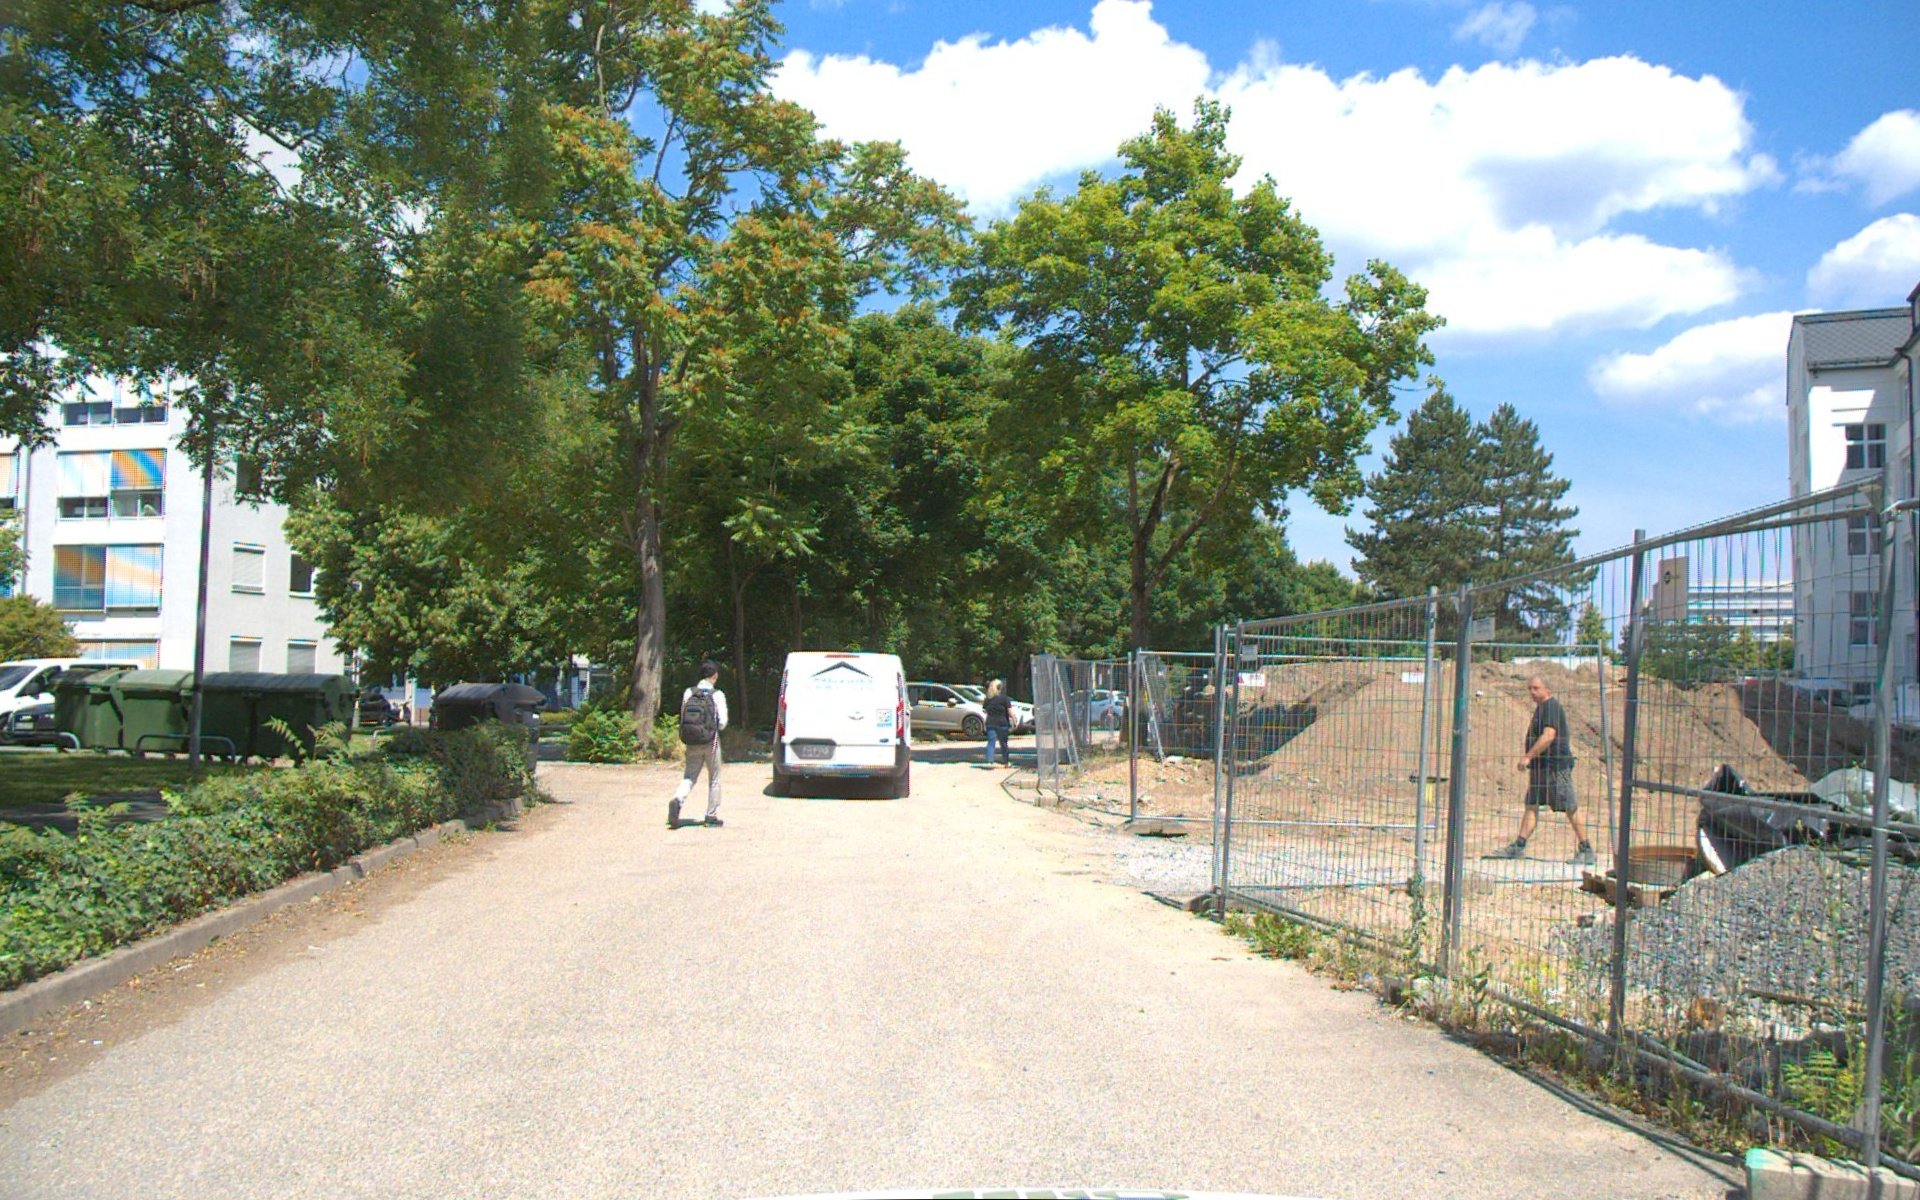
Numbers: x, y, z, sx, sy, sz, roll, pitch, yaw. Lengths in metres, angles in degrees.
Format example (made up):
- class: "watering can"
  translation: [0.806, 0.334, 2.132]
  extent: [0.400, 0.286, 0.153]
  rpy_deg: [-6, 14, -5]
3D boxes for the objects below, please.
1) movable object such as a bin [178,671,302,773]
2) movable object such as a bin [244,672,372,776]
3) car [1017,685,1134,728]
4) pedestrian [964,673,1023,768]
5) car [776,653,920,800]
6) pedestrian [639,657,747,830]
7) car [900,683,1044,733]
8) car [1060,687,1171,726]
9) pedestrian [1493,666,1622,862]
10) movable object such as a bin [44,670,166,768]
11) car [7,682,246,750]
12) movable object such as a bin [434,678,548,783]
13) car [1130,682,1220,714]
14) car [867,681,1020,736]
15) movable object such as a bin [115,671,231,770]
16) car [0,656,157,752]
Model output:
- class: "movable object such as a bin"
  translation: [-10.981, 1.845, 25.265]
  extent: [1.327, 1.505, 1.097]
  rpy_deg: [0, -3, 10]
- class: "movable object such as a bin"
  translation: [-9.763, 1.833, 24.801]
  extent: [1.293, 1.505, 1.208]
  rpy_deg: [-1, -3, 18]
- class: "car"
  translation: [4.658, 4.261, 66.514]
  extent: [4.412, 1.626, 1.725]
  rpy_deg: [-1, -3, 20]
- class: "pedestrian"
  translation: [0.627, 2.180, 30.121]
  extent: [1.013, 1.679, 1.049]
  rpy_deg: [0, -3, 4]
- class: "car"
  translation: [-1.684, 1.837, 24.747]
  extent: [1.934, 1.981, 4.575]
  rpy_deg: [1, -3, -4]
- class: "pedestrian"
  translation: [-2.806, 1.488, 17.501]
  extent: [0.855, 1.760, 1.080]
  rpy_deg: [0, -3, 5]
- class: "car"
  translation: [0.400, 3.562, 54.677]
  extent: [4.412, 1.559, 1.725]
  rpy_deg: [-1, -3, 20]
- class: "car"
  translation: [6.746, 4.602, 71.725]
  extent: [4.412, 1.626, 1.936]
  rpy_deg: [-1, -3, 21]
- class: "pedestrian"
  translation: [5.810, 1.578, 16.144]
  extent: [0.944, 1.852, 0.870]
  rpy_deg: [0, -3, 2]
- class: "movable object such as a bin"
  translation: [-13.607, 1.875, 26.335]
  extent: [1.376, 1.505, 1.047]
  rpy_deg: [-1, -3, 21]
- class: "car"
  translation: [-18.025, 2.494, 36.023]
  extent: [1.790, 1.376, 4.626]
  rpy_deg: [-1, -3, 20]
- class: "movable object such as a bin"
  translation: [-6.601, 1.807, 23.275]
  extent: [1.140, 1.419, 1.108]
  rpy_deg: [-3, -4, 44]
- class: "car"
  translation: [11.270, 5.152, 86.811]
  extent: [4.412, 1.626, 1.725]
  rpy_deg: [-1, -3, 20]
- class: "car"
  translation: [-0.509, 3.429, 52.314]
  extent: [4.413, 1.638, 1.999]
  rpy_deg: [-1, -6, 21]
- class: "movable object such as a bin"
  translation: [-12.256, 1.860, 25.788]
  extent: [1.232, 1.505, 1.047]
  rpy_deg: [-1, -3, 21]
- class: "car"
  translation: [-20.851, 2.345, 37.411]
  extent: [1.952, 2.049, 4.774]
  rpy_deg: [-2, -4, 20]
